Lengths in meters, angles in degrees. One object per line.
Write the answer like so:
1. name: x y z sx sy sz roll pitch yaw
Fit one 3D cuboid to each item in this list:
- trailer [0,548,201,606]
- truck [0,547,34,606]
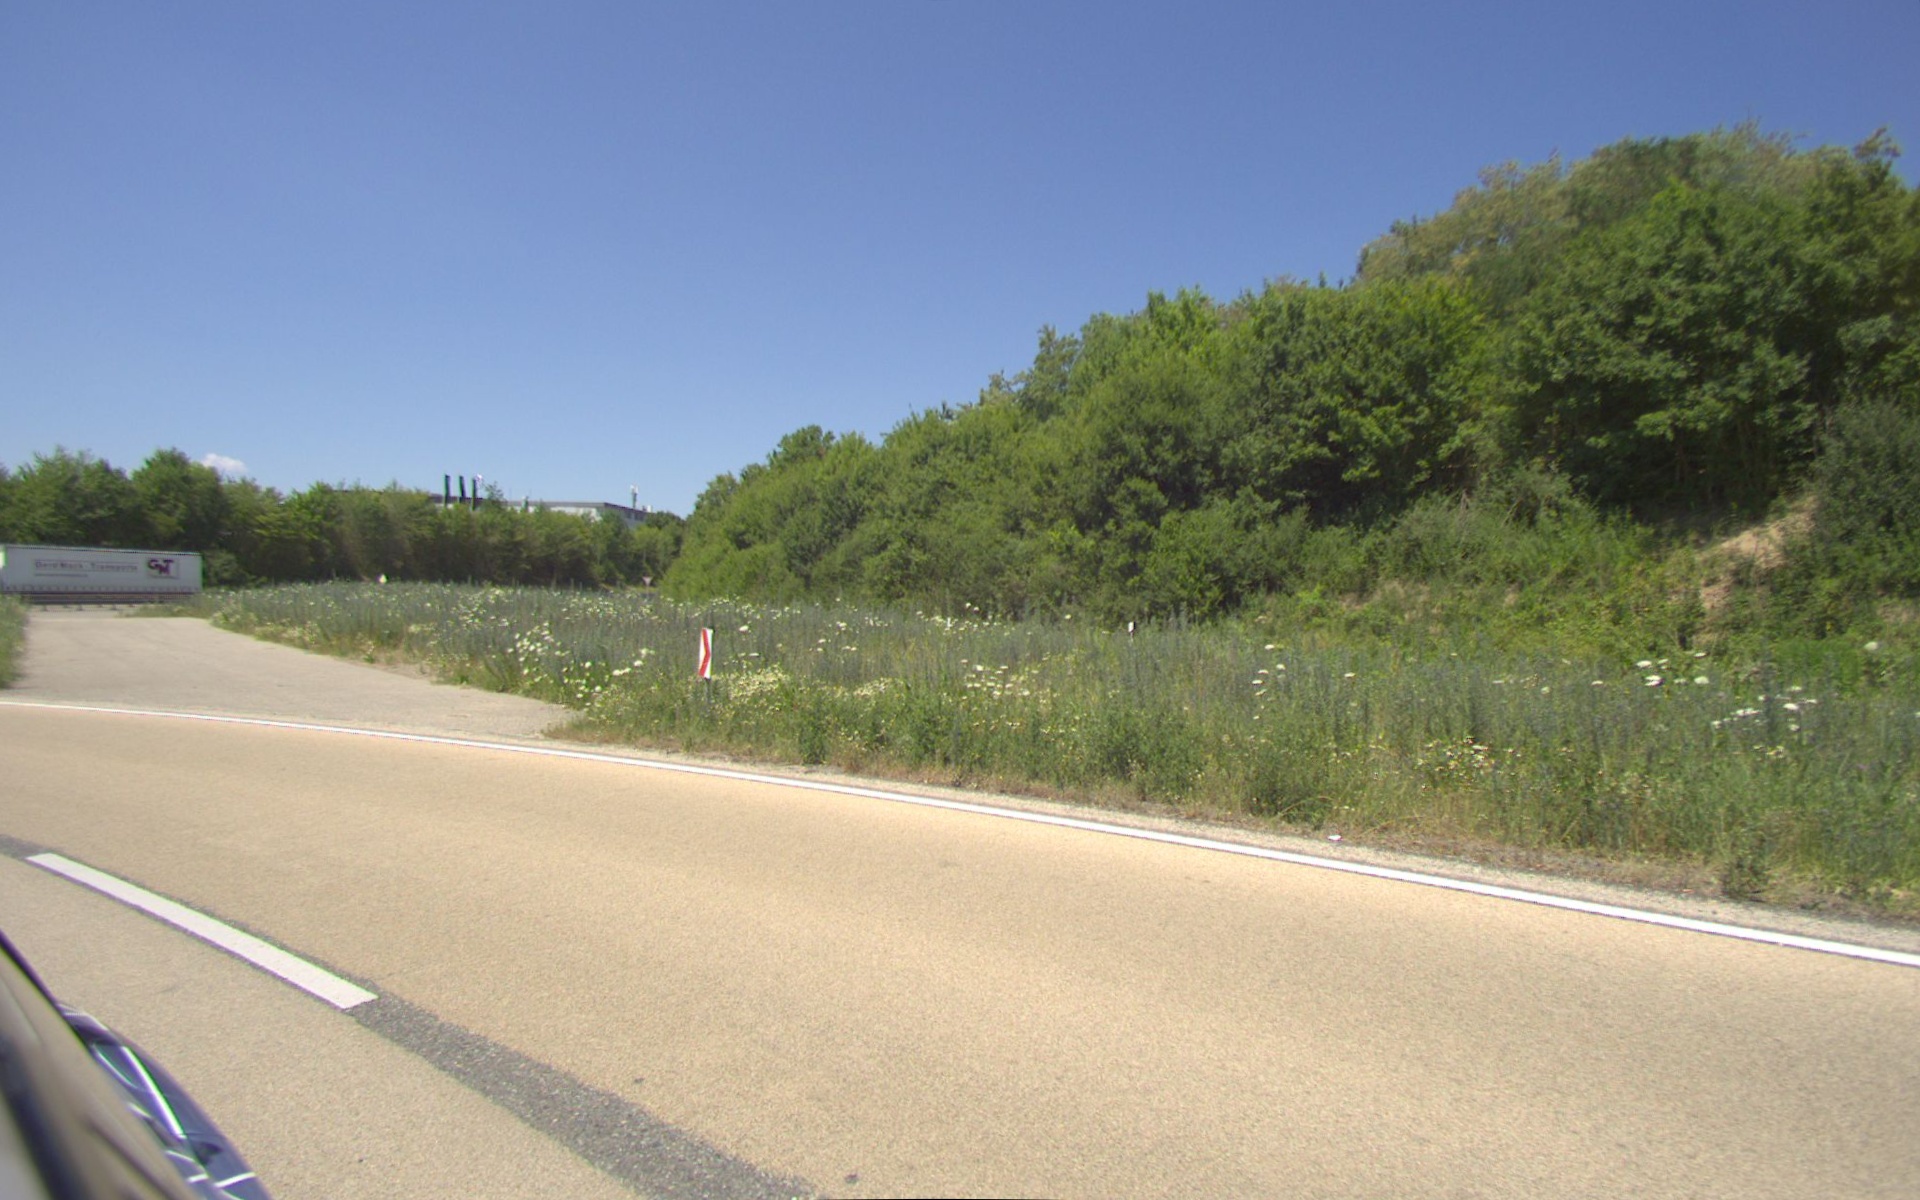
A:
1. trailer: -64.013 -1.600 75.238 2.894 3.969 13.212 0 0 15
2. truck: -66.011 -1.558 67.665 2.894 3.969 5.392 0 0 15
